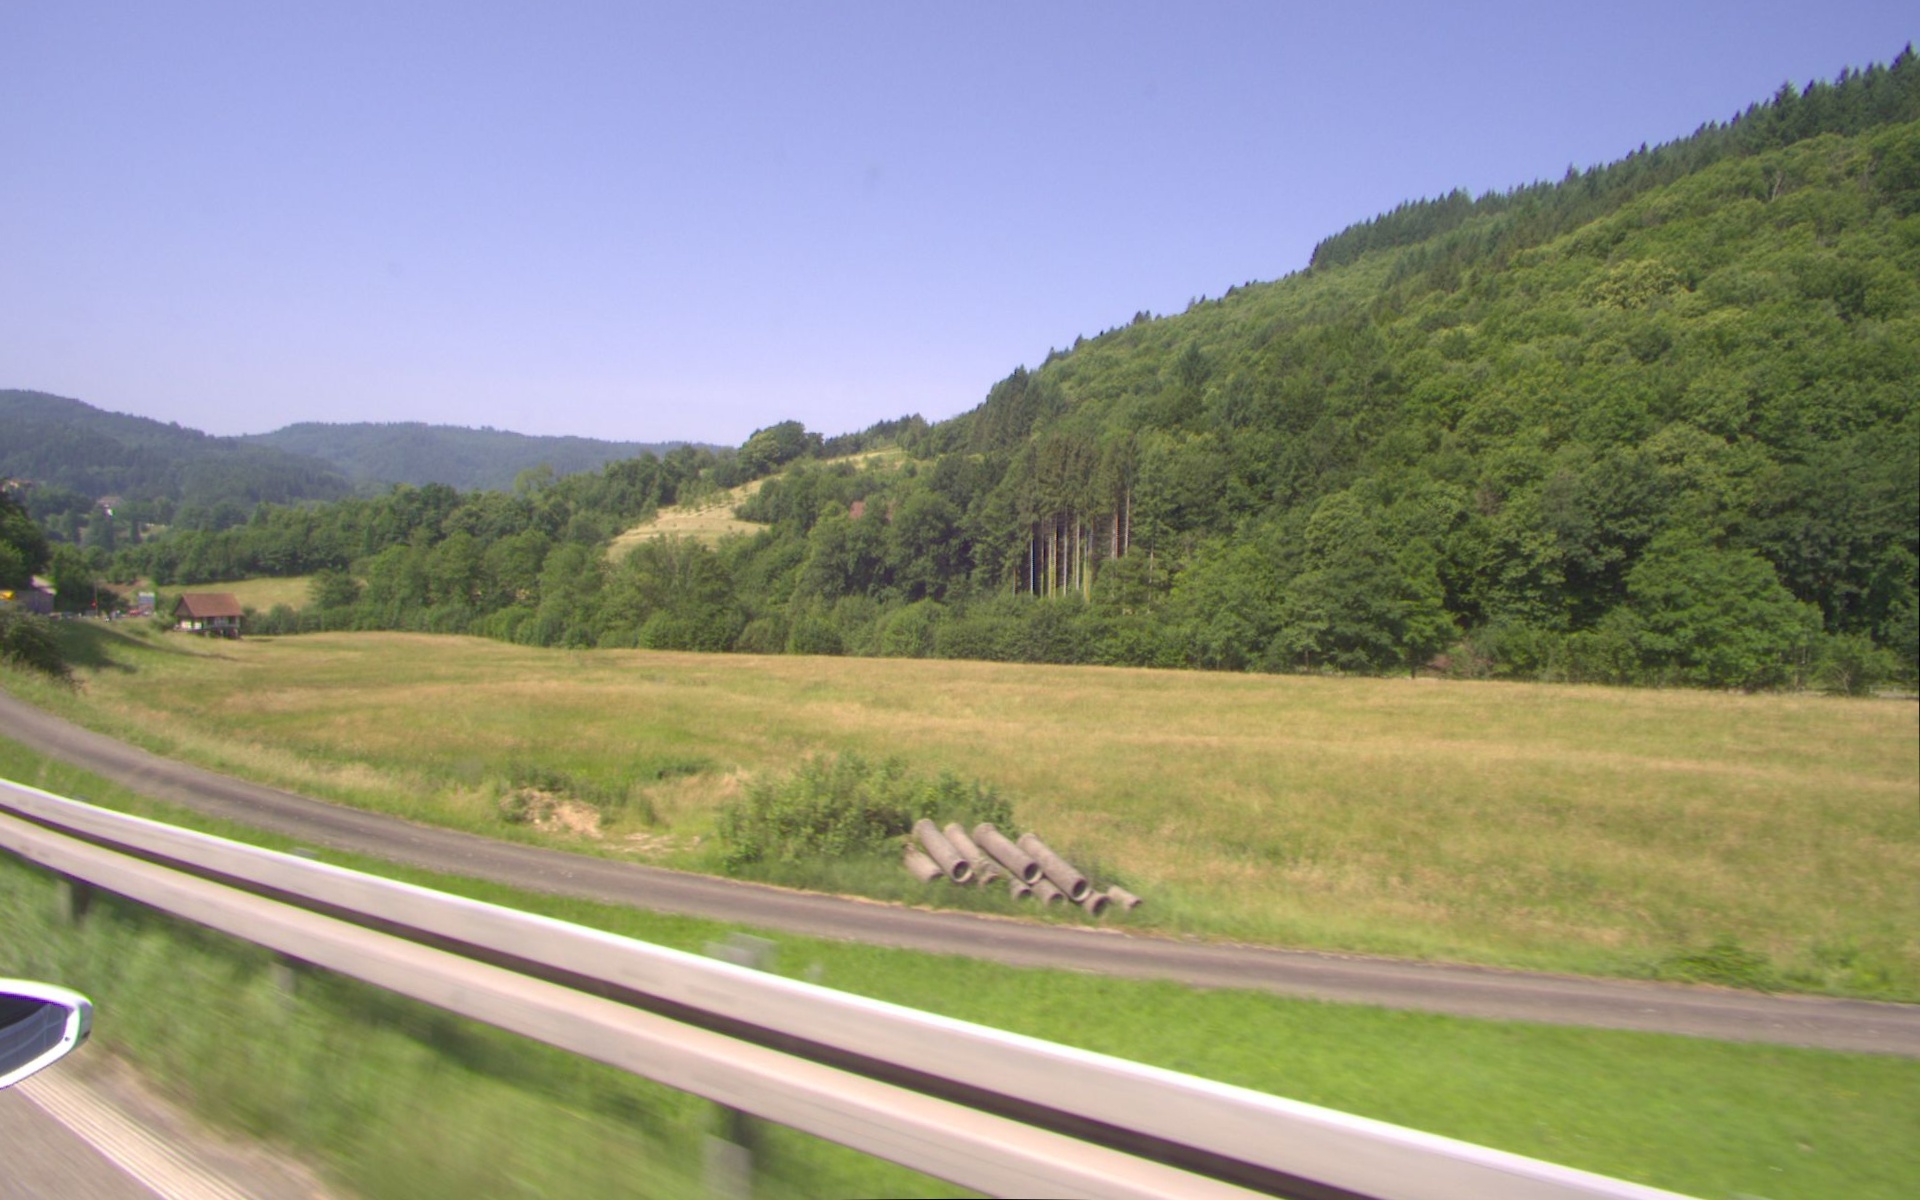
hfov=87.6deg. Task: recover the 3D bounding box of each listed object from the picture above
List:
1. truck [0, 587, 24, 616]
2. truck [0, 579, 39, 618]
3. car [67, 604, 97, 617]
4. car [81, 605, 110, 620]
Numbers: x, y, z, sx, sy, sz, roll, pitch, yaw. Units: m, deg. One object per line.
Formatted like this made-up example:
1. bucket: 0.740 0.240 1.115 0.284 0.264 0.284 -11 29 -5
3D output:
1. truck: -100.900 0.171 105.326 2.213 2.839 6.200 2 -2 -30
2. truck: -112.647 -0.254 119.022 3.153 4.454 6.537 2 0 -29
3. car: -110.941 1.366 126.591 1.885 1.505 3.981 3 -2 -28
4. car: -115.999 1.707 134.397 1.970 1.950 3.983 3 -1 -26
